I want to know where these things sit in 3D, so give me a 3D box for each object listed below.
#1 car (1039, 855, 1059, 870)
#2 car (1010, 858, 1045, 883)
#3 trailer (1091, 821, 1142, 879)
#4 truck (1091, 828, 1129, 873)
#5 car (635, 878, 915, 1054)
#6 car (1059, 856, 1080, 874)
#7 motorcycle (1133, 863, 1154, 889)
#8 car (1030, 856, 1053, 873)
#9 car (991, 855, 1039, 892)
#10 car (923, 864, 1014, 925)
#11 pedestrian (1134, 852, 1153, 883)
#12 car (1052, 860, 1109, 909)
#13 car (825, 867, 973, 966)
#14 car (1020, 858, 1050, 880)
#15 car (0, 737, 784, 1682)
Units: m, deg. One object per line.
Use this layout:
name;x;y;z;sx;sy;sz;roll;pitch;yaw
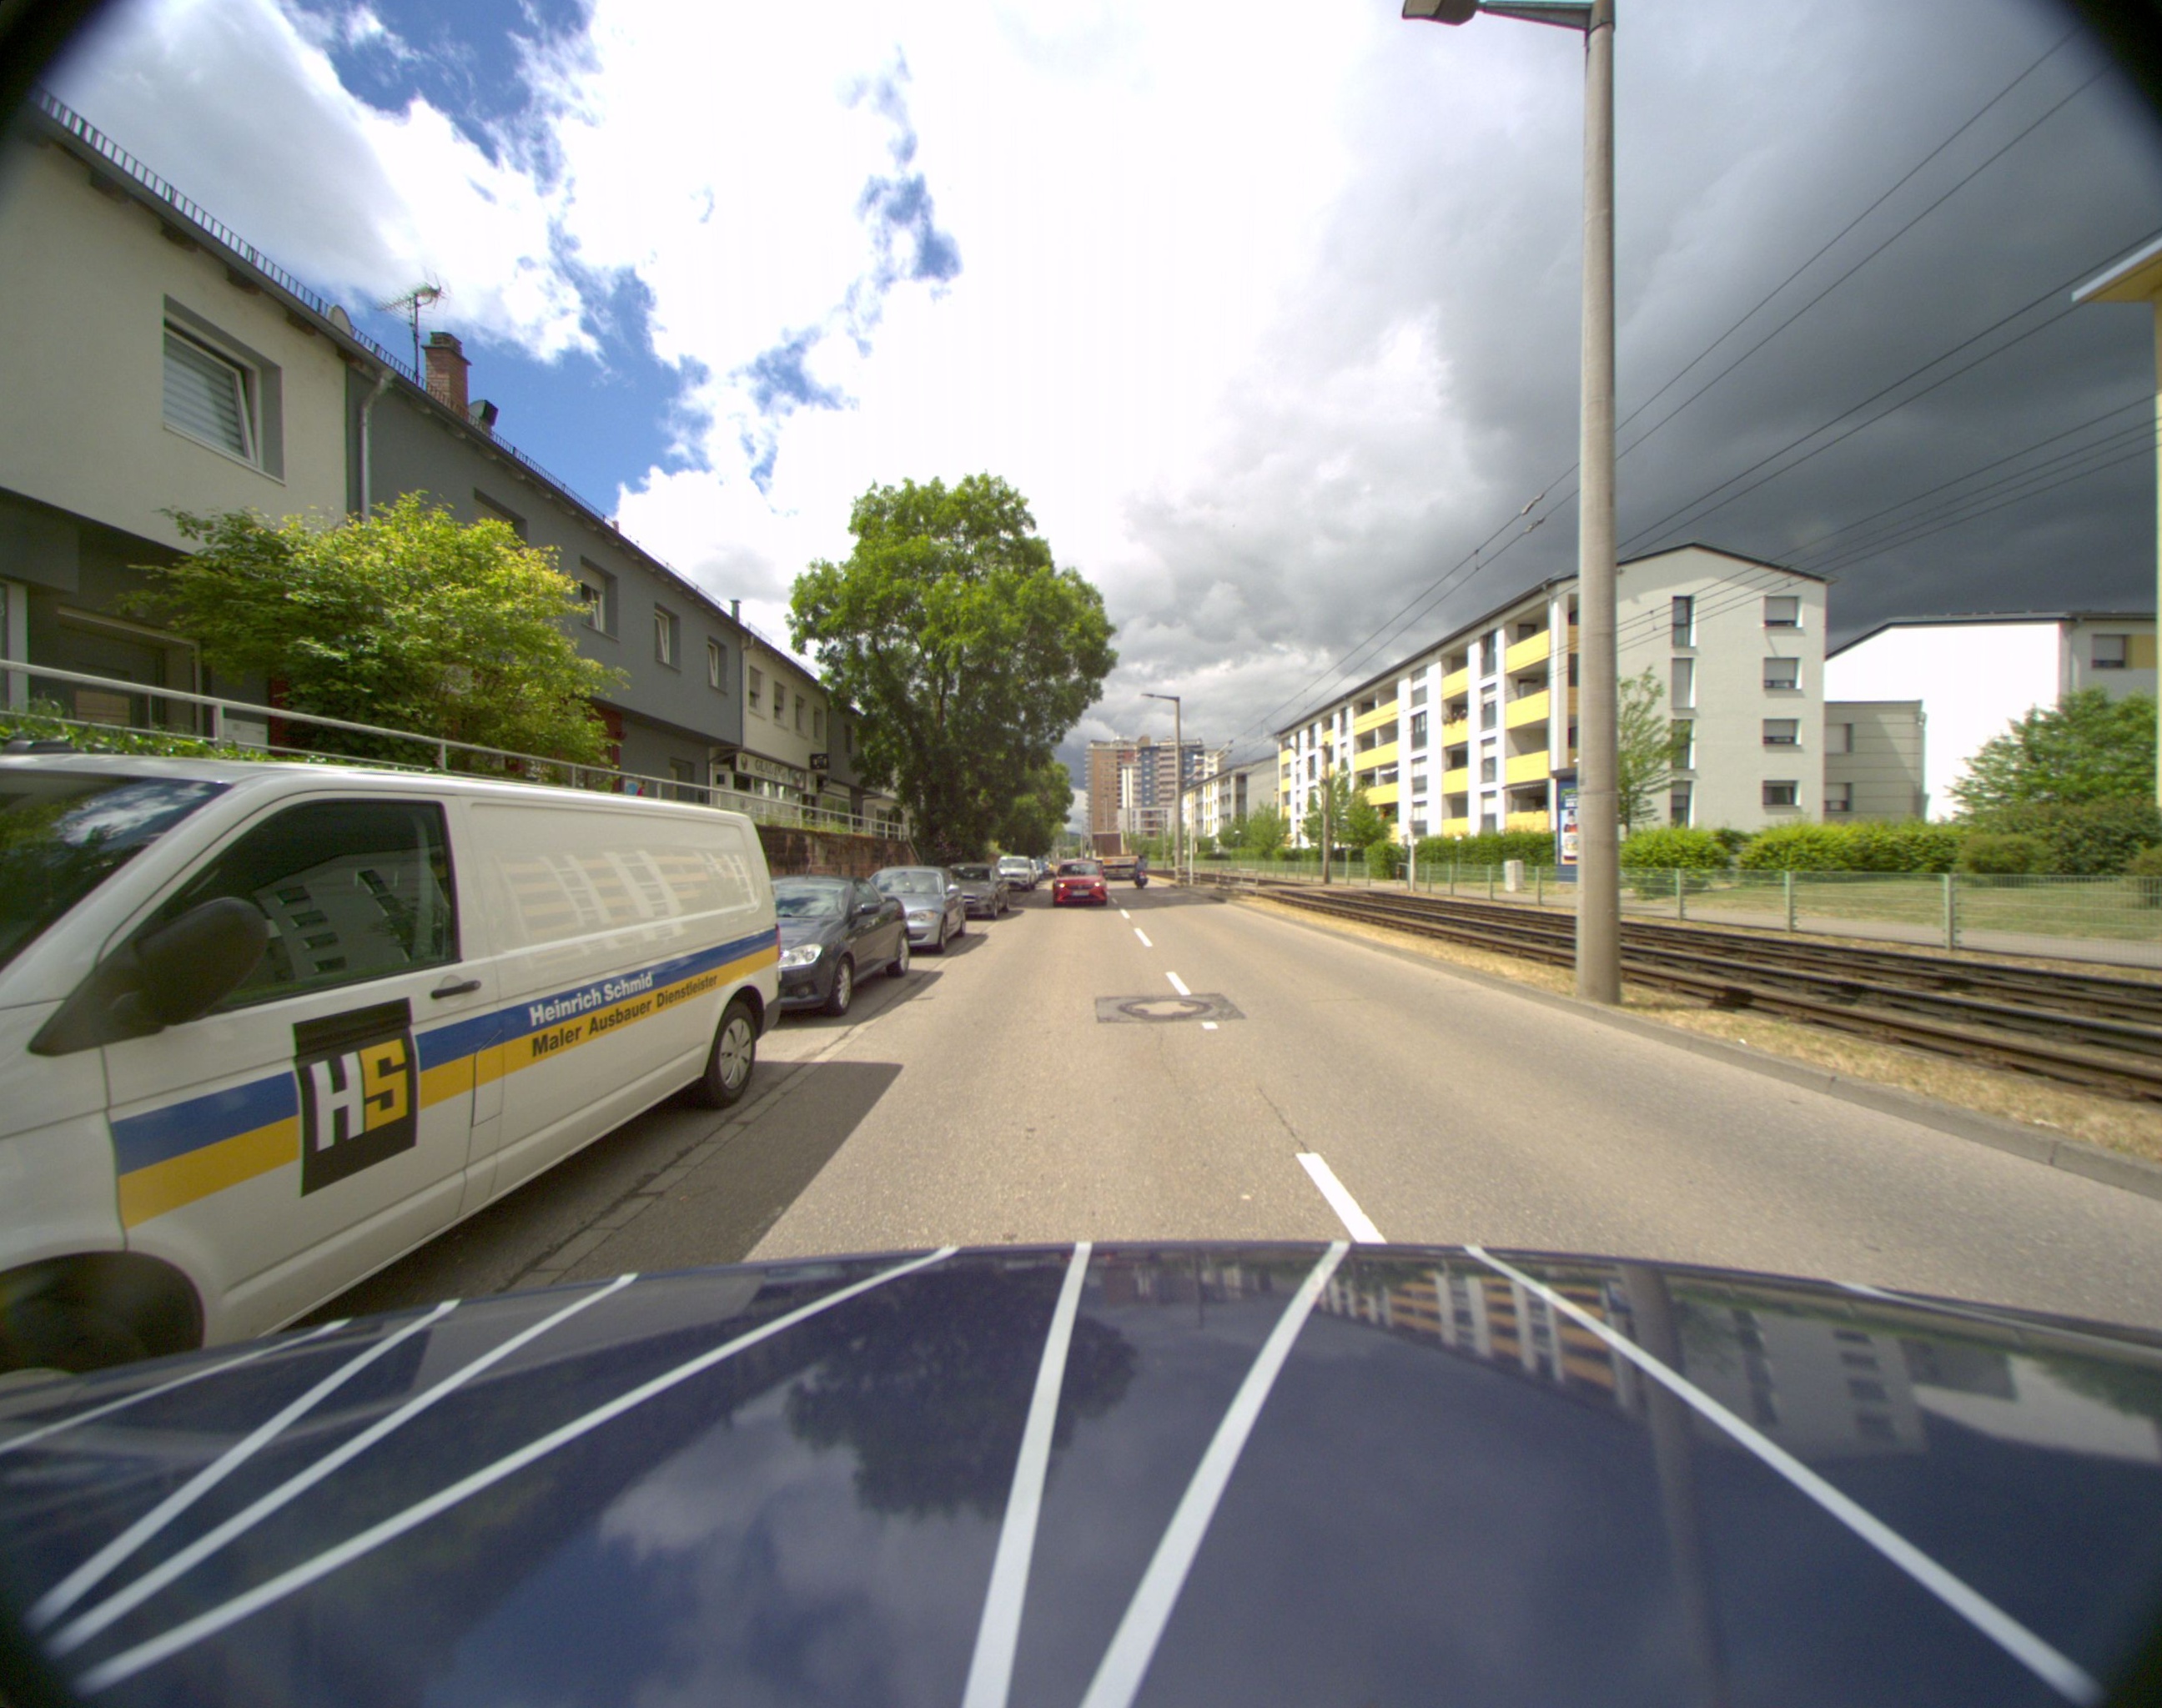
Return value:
car;-3.235;0.845;77.058;1.784;1.420;4.147;-1;0;1
car;-3.275;0.998;46.960;1.784;1.420;4.147;-1;0;1
trailer;2.285;-0.253;54.183;2.875;3.428;14.615;-3;0;0
truck;2.308;-0.273;62.560;2.852;3.428;4.415;-3;0;0
car;-3.120;1.054;8.605;1.578;1.420;3.735;-1;0;1
car;-1.132;1.014;73.095;1.927;1.543;3.999;-3;0;-2
motorcycle;2.944;1.022;35.751;0.783;1.181;1.869;-2;0;-1
car;-3.546;0.959;69.312;1.784;1.420;4.147;-1;0;1
car;-3.072;0.893;36.250;1.819;1.643;4.147;-1;0;1
car;-2.960;1.021;20.879;1.784;1.420;4.147;-1;0;1
pedestrian;2.928;0.623;35.730;0.737;1.408;0.927;-3;1;-1
car;0.041;0.954;25.168;1.723;1.434;4.000;-1;0;2
car;-3.137;1.011;13.954;1.785;1.420;4.144;2;0;-2
car;-3.189;0.993;53.204;1.784;1.420;4.147;-1;0;1
car;-3.211;0.746;3.005;1.978;1.958;5.013;-1;0;1
